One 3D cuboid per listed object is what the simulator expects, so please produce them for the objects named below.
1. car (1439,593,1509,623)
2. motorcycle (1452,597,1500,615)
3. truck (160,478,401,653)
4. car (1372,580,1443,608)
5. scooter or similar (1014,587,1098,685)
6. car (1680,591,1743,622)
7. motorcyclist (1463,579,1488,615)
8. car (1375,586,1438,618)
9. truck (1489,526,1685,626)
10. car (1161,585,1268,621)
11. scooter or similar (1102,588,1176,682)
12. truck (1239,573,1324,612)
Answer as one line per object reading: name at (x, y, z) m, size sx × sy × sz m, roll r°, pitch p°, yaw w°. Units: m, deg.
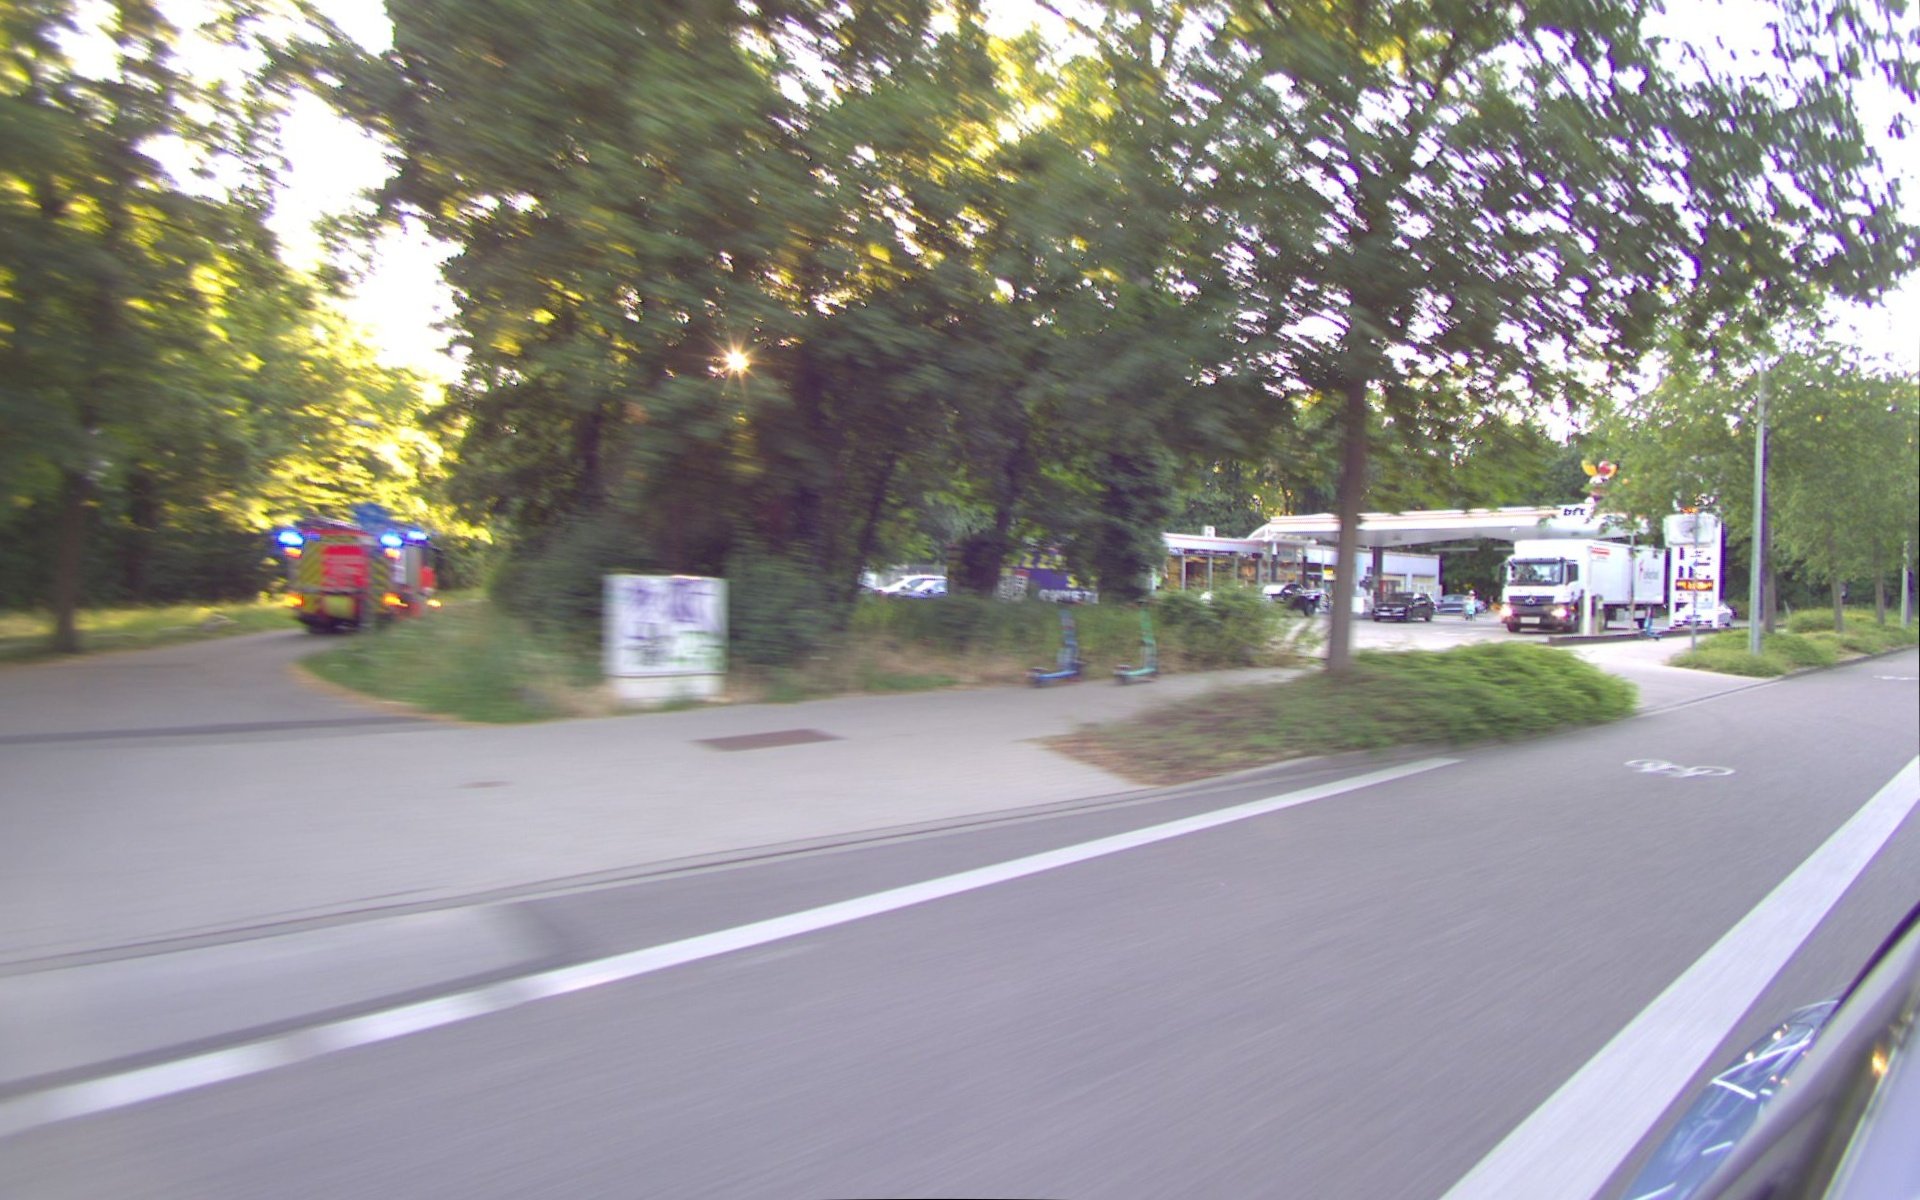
car at (34.993, 0.524, 68.952) m, size 3.978 × 2.039 × 1.808 m, roll 0°, pitch 0°, yaw 38°
motorcycle at (30.132, 0.347, 59.098) m, size 3.930 × 1.037 × 1.136 m, roll 0°, pitch 0°, yaw -41°
truck at (-15.165, -0.723, 23.375) m, size 2.703 × 3.251 × 8.683 m, roll 1°, pitch 1°, yaw -21°
car at (28.629, -0.375, 64.858) m, size 3.952 × 1.543 × 1.986 m, roll 3°, pitch 1°, yaw 21°
scooter or similar at (1.349, 0.478, 14.150) m, size 0.482 × 1.298 × 1.212 m, roll 3°, pitch 2°, yaw 44°
car at (41.340, 0.329, 55.625) m, size 4.632 × 1.611 × 1.995 m, roll 0°, pitch 0°, yaw -44°
motorcyclist at (30.075, -0.187, 59.027) m, size 1.057 × 2.039 × 1.009 m, roll 0°, pitch 0°, yaw -41°
car at (22.370, 0.109, 50.633) m, size 1.668 × 1.528 × 3.936 m, roll 0°, pitch -1°, yaw 44°
truck at (27.978, -0.935, 44.516) m, size 15.614 × 3.776 × 3.222 m, roll 0°, pitch 0°, yaw -42°
car at (11.295, 0.094, 44.844) m, size 4.639 × 1.431 × 1.735 m, roll 0°, pitch 4°, yaw -30°
scooter or similar at (2.603, 0.488, 14.712) m, size 0.482 × 1.298 × 1.122 m, roll 3°, pitch 2°, yaw 44°
truck at (17.385, -0.411, 54.535) m, size 5.113 × 1.965 × 1.997 m, roll 0°, pitch 0°, yaw -41°
